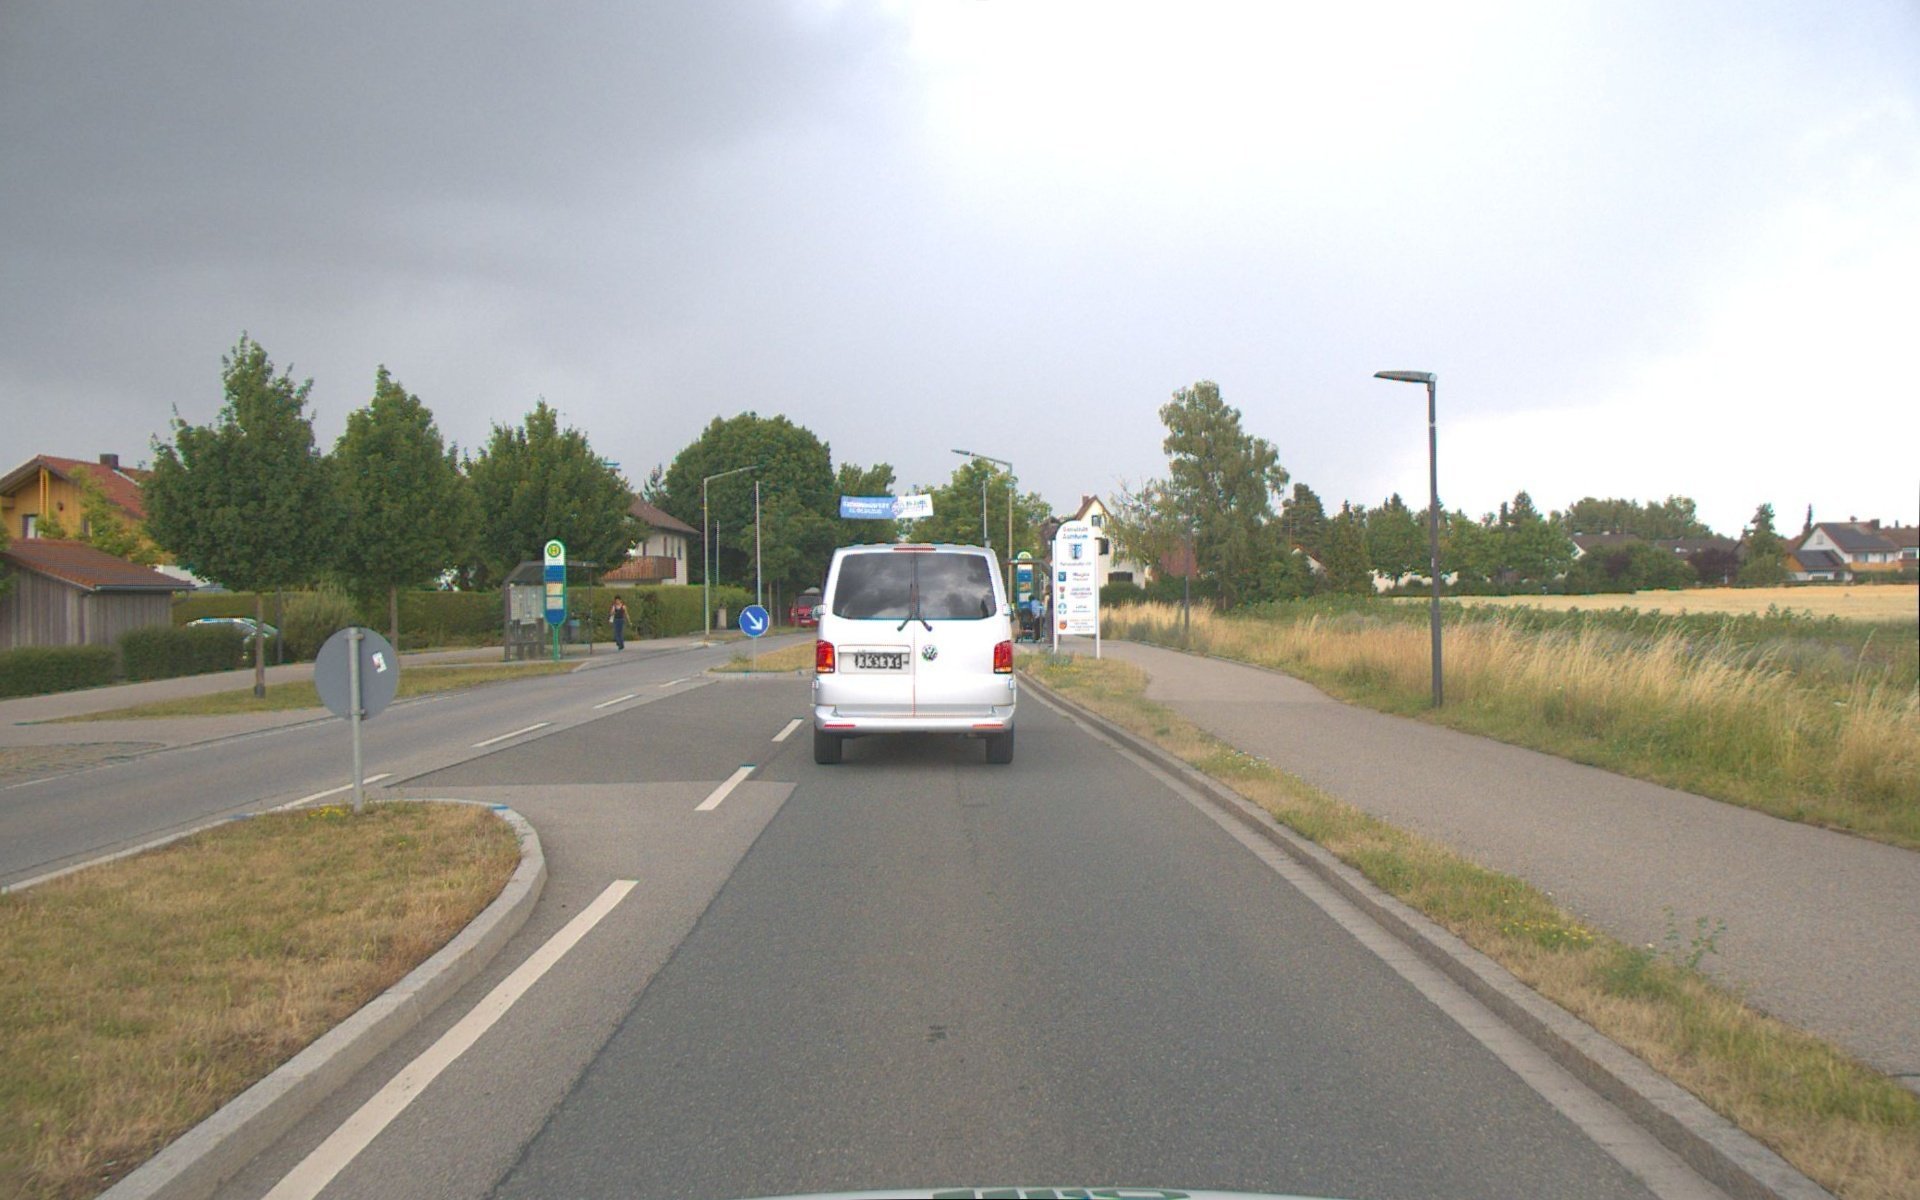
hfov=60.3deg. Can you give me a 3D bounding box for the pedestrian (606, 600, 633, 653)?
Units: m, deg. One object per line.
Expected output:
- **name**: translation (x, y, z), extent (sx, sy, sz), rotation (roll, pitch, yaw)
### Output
- **pedestrian**: translation (-10.085, 0.784, 49.056), extent (0.611, 1.551, 0.679), rotation (-2, 0, -2)

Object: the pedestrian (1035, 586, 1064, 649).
- **pedestrian**: translation (2.572, 0.493, 47.456), extent (0.628, 1.762, 0.486), rotation (-2, 0, 27)

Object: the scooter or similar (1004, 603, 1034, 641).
- **scooter or similar**: translation (1.839, 0.691, 51.658), extent (0.831, 1.123, 1.094), rotation (-2, 0, -1)

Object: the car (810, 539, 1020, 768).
- **car**: translation (-0.470, 0.446, 16.113), extent (1.789, 1.947, 3.998), rotation (0, 0, -3)

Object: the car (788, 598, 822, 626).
- **car**: translation (-8.670, 0.648, 92.612), extent (1.620, 1.454, 3.601), rotation (-2, 0, -1)

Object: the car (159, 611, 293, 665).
- **car**: translation (-23.751, 1.220, 53.608), extent (3.520, 1.556, 1.657), rotation (-3, 0, -5)

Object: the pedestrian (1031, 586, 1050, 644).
- **pedestrian**: translation (2.524, 0.466, 51.814), extent (0.475, 1.762, 0.642), rotation (-2, 0, -2)
